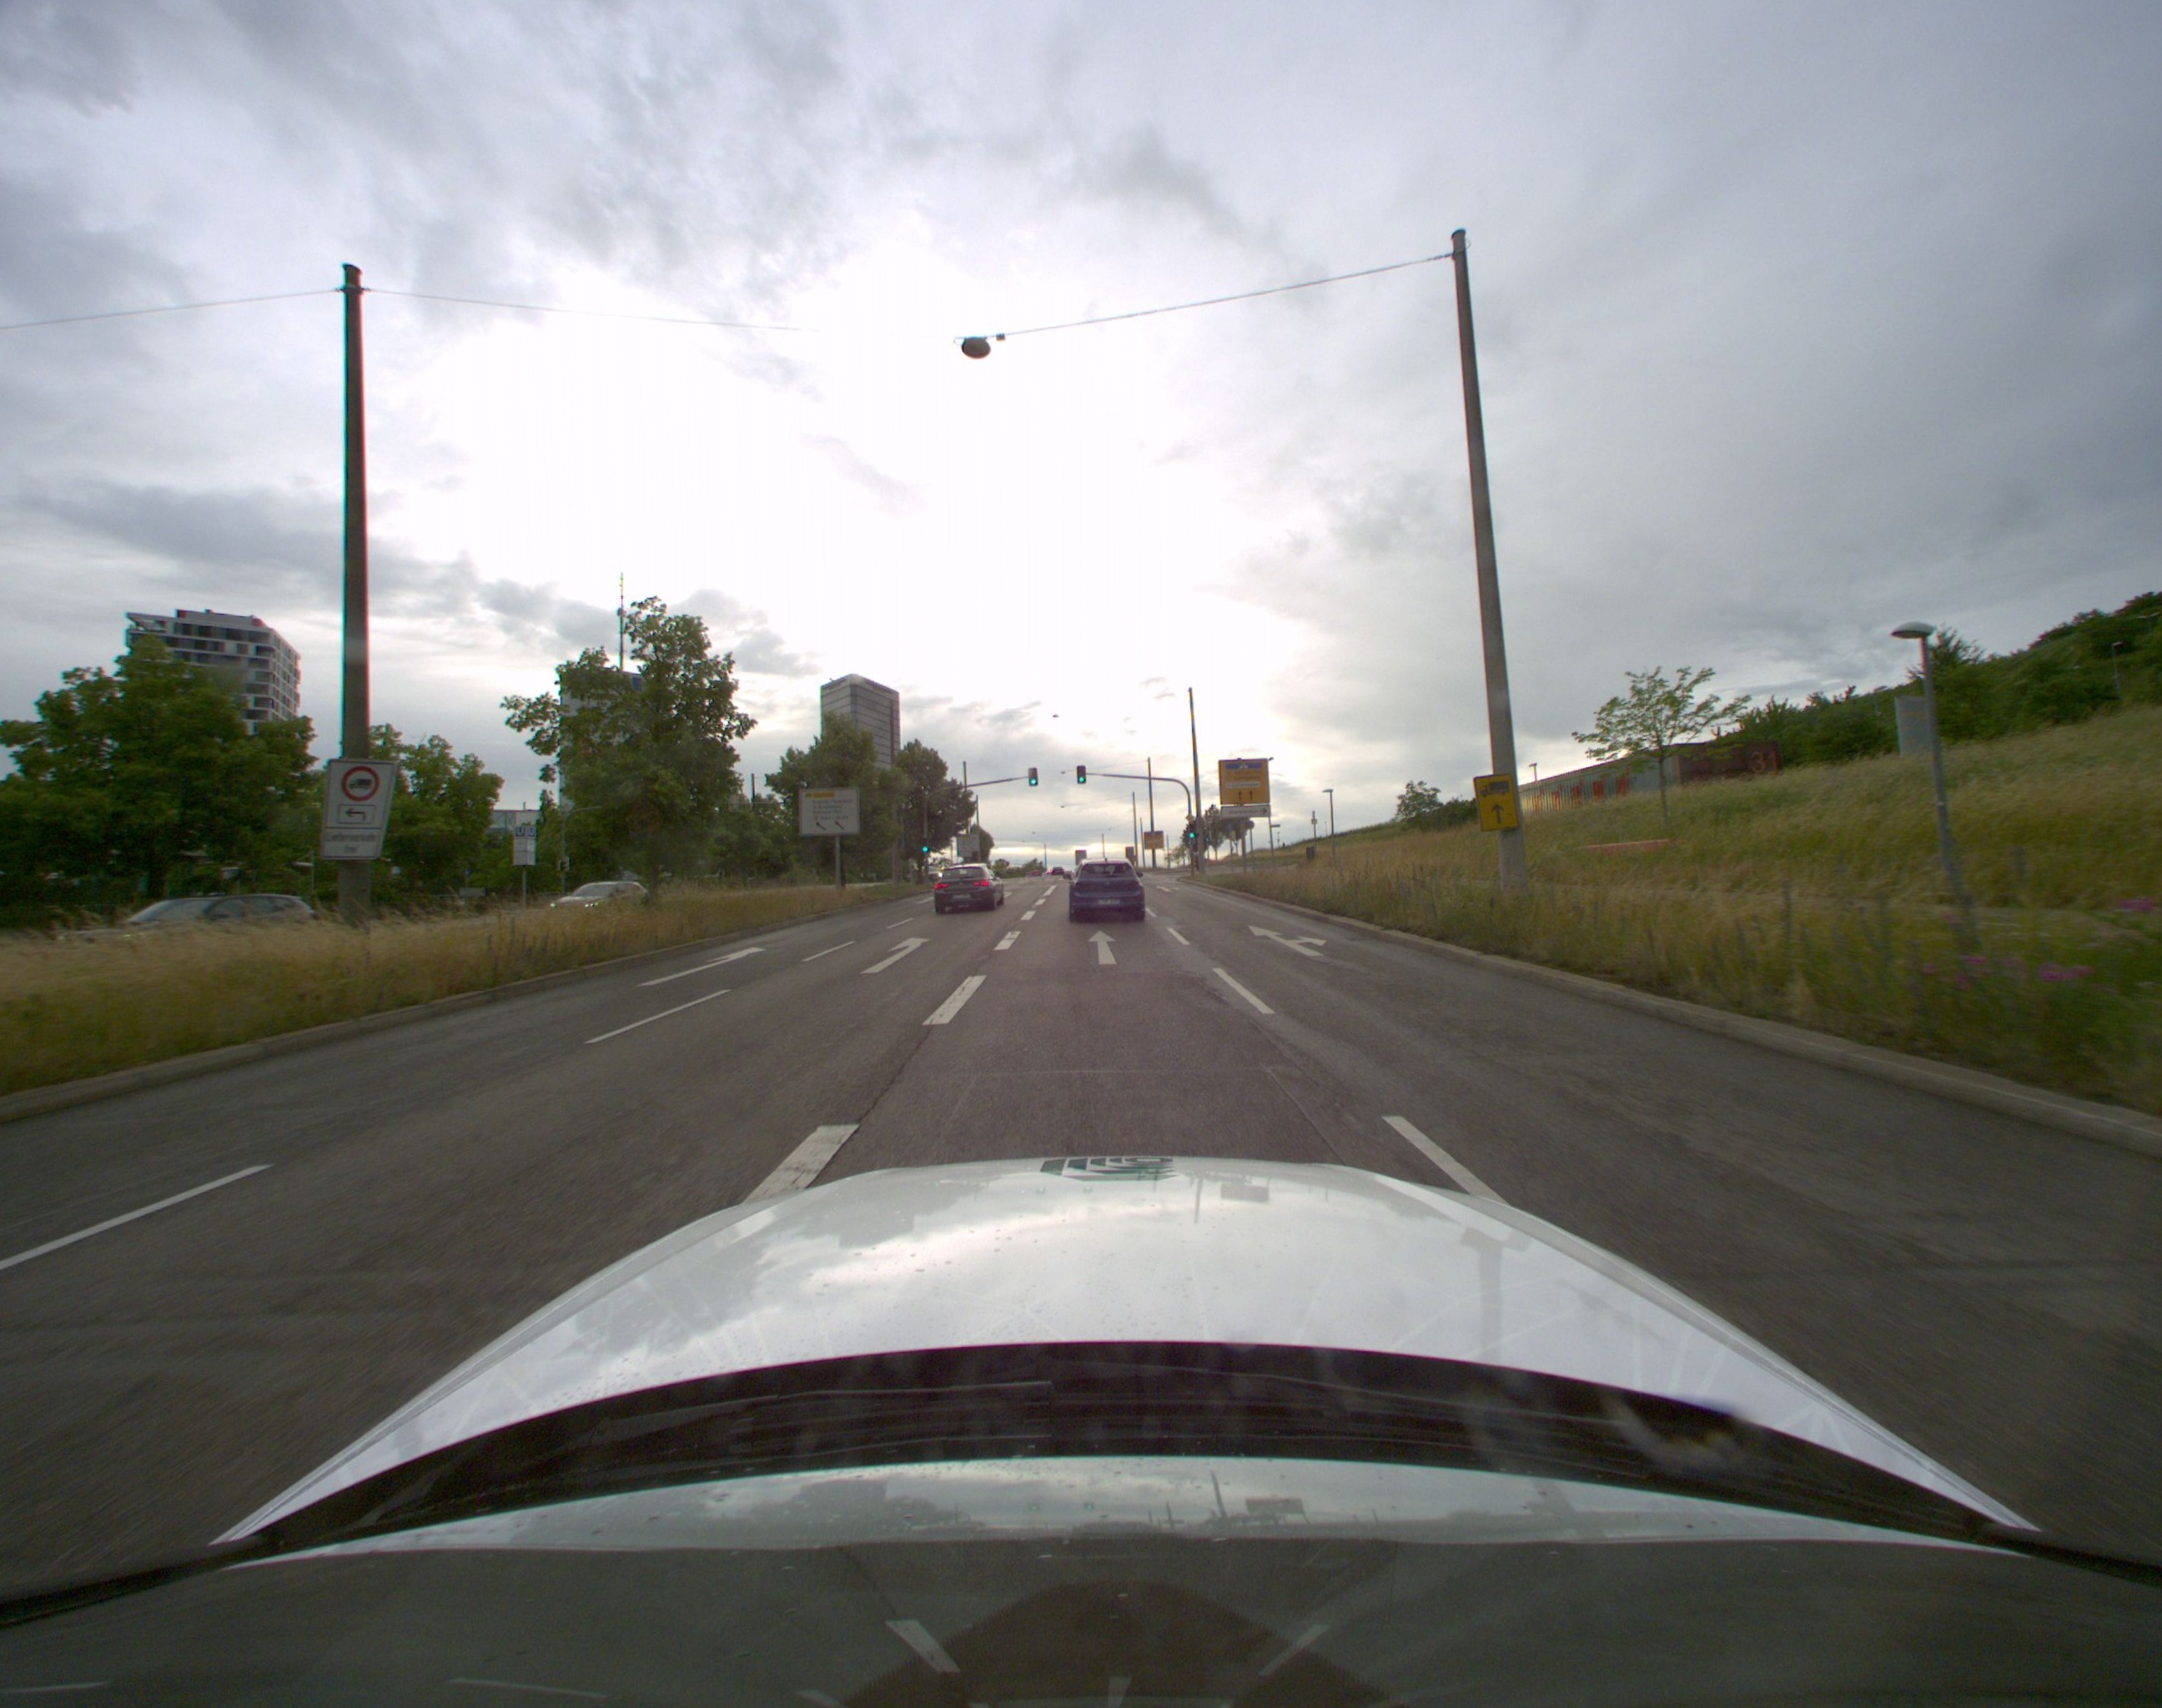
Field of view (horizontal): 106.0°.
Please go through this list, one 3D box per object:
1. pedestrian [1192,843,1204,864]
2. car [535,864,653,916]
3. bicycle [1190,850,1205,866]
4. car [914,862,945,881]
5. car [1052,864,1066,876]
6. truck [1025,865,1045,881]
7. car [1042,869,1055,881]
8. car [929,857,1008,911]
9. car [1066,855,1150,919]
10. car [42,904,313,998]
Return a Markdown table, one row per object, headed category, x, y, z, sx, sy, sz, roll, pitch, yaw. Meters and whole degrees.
| category | x | y | z | sx | sy | sz | roll | pitch | yaw |
| --- | --- | --- | --- | --- | --- | --- | --- | --- | --- |
| pedestrian | 9.052 | -0.046 | 62.981 | 0.632 | 1.570 | 0.894 | -5 | 3 | -7 |
| car | -17.503 | 1.233 | 29.519 | 1.989 | 1.639 | 4.014 | -1 | 0 | -3 |
| bicycle | 9.039 | 0.324 | 63.267 | 0.632 | 1.104 | 1.748 | -6 | 2 | -9 |
| car | -13.371 | 1.545 | 71.567 | 1.897 | 1.507 | 3.971 | -2 | 1 | -22 |
| car | -3.036 | 2.227 | 112.008 | 1.718 | 1.541 | 3.699 | 0 | 0 | -3 |
| truck | -9.605 | 3.973 | 169.006 | 2.673 | 3.220 | 6.508 | 0 | -3 | -17 |
| car | -6.096 | 3.951 | 152.809 | 1.903 | 1.973 | 5.078 | -3 | -3 | -7 |
| car | -3.375 | 0.864 | 25.199 | 1.863 | 1.461 | 3.975 | -2 | 0 | -1 |
| car | 0.632 | 0.739 | 20.106 | 1.831 | 1.393 | 4.000 | -1 | 0 | 1 |
| car | -20.462 | 2.113 | 18.749 | 1.857 | 1.620 | 3.995 | -2 | 0 | -3 |
